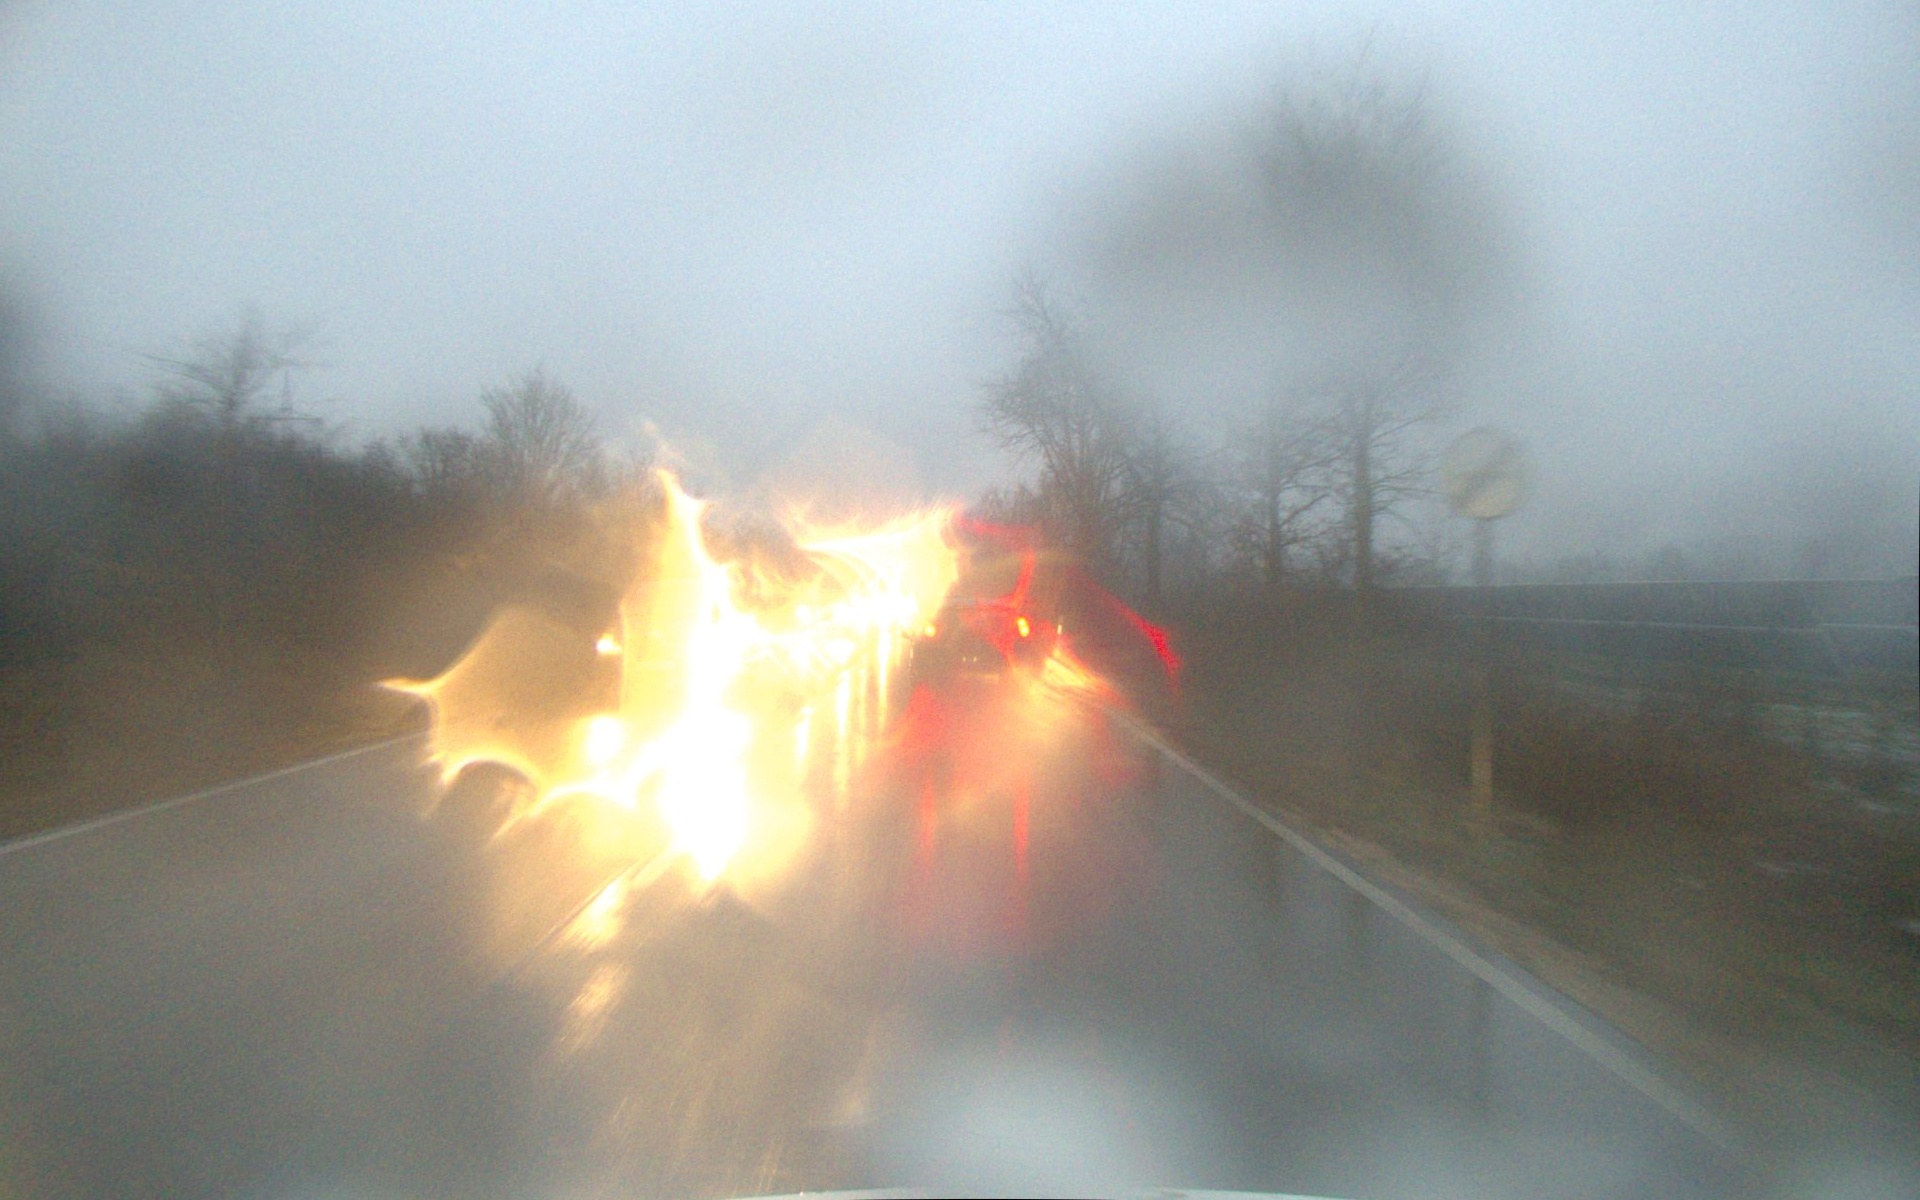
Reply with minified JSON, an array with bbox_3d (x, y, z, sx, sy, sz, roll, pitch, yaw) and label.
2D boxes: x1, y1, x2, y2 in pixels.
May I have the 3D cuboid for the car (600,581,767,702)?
[{"bbox_3d":[-3.995,0.558,24.605,1.743,1.624,4.692,0,0,-1],"label":"car"}]

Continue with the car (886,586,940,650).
[{"bbox_3d":[-1.449,0.554,52.170,1.542,1.907,3.709,1,0,0],"label":"car"}]

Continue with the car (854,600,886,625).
[{"bbox_3d":[-5.367,0.742,99.028,1.780,1.466,3.455,1,0,-1],"label":"car"}]

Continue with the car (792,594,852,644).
[{"bbox_3d":[-4.832,0.655,58.538,1.884,1.683,4.103,1,0,-2],"label":"car"}]

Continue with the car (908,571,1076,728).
[{"bbox_3d":[0.394,0.588,21.649,1.952,1.816,4.000,1,0,0],"label":"car"}]
